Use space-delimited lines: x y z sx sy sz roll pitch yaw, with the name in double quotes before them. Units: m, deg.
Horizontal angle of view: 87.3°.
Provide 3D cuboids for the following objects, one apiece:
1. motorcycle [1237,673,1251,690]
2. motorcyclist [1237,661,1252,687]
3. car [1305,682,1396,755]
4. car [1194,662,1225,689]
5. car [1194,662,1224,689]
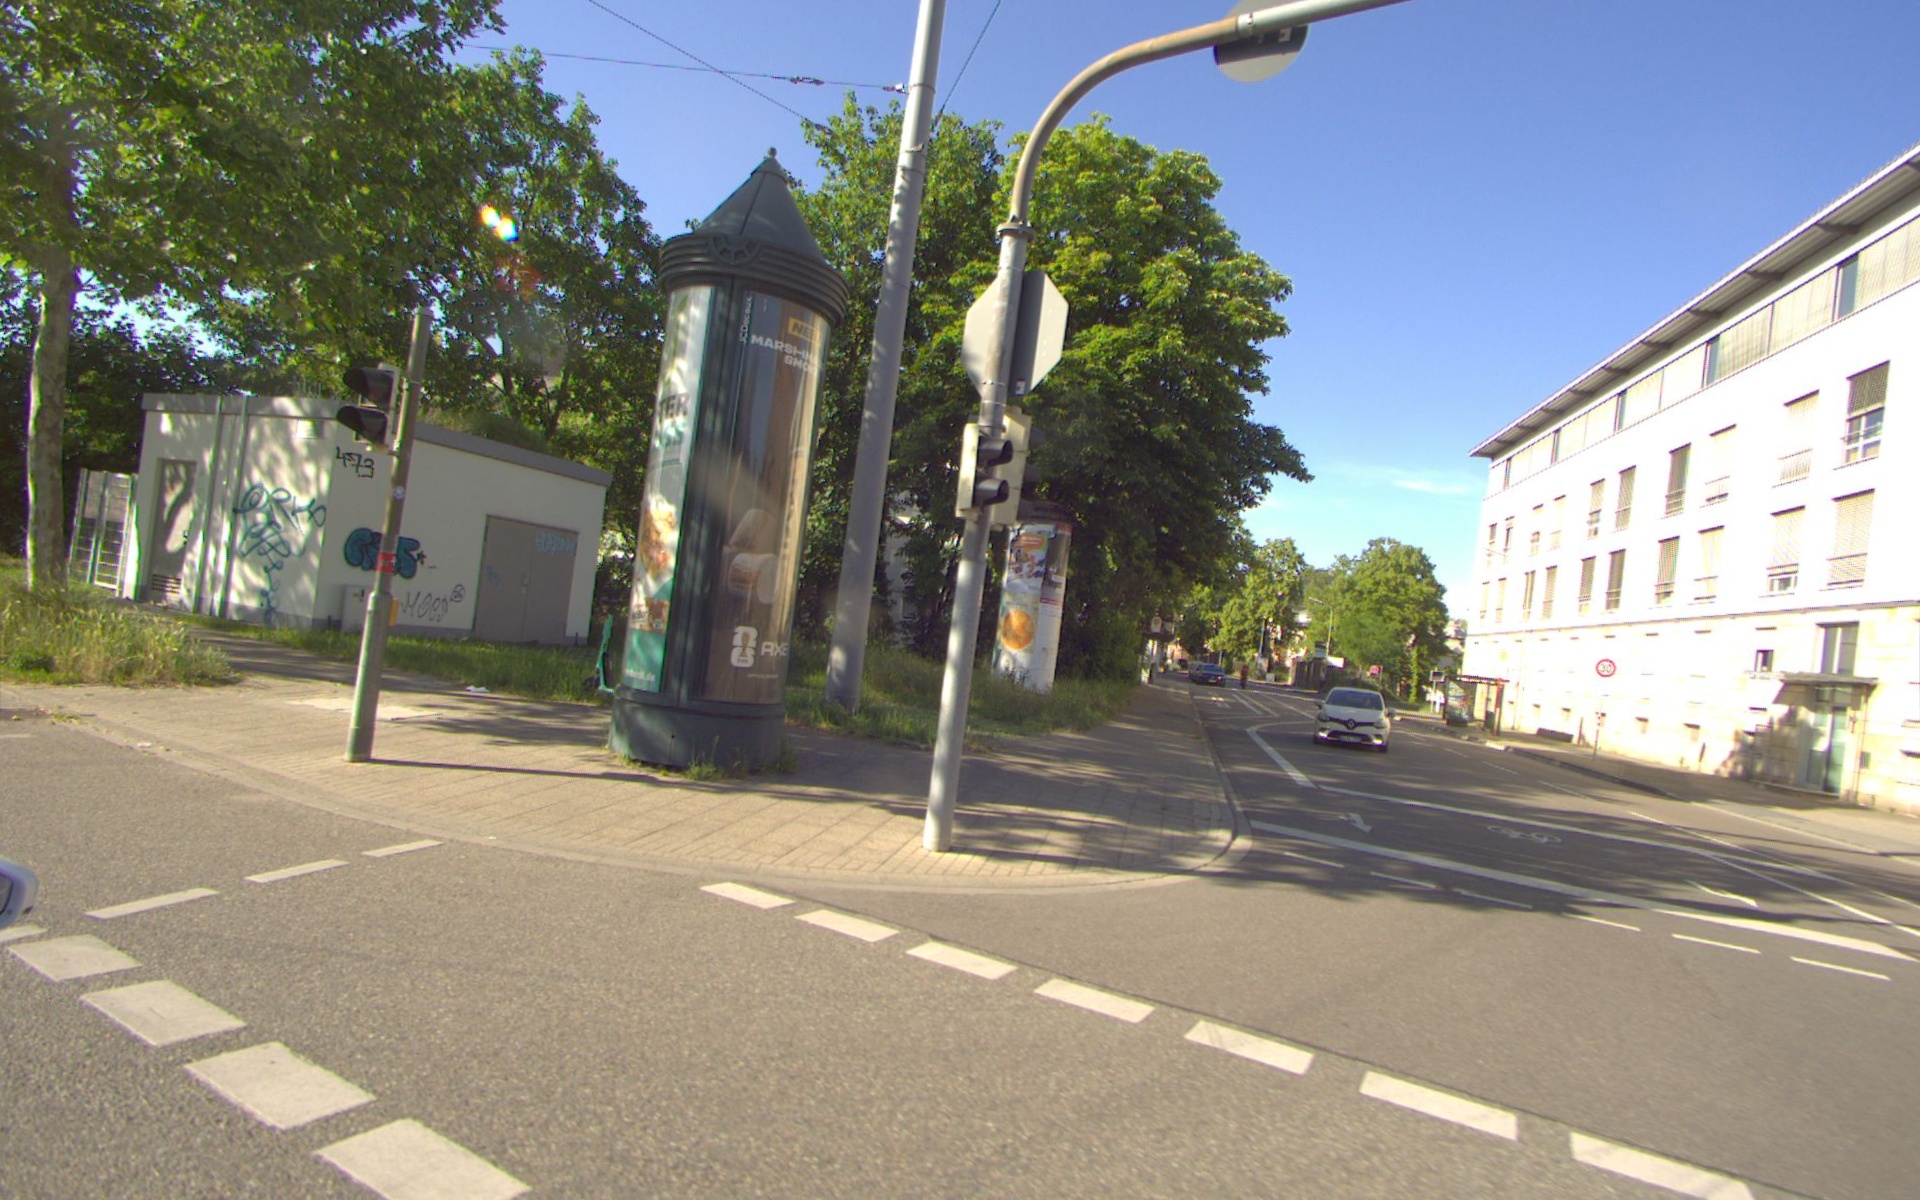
"motorcycle" 19.072 5.482 67.657 0.692 1.038 1.534 6 -2 11
"motorcyclist" 19.124 4.980 67.637 0.699 1.633 0.799 6 -1 11
"car" 9.812 2.928 25.523 1.766 1.484 4.004 6 -2 18
"car" 16.794 5.051 67.757 1.765 1.547 4.006 6 -2 13
"car" 18.260 5.532 73.930 1.765 1.672 4.006 6 -2 11
